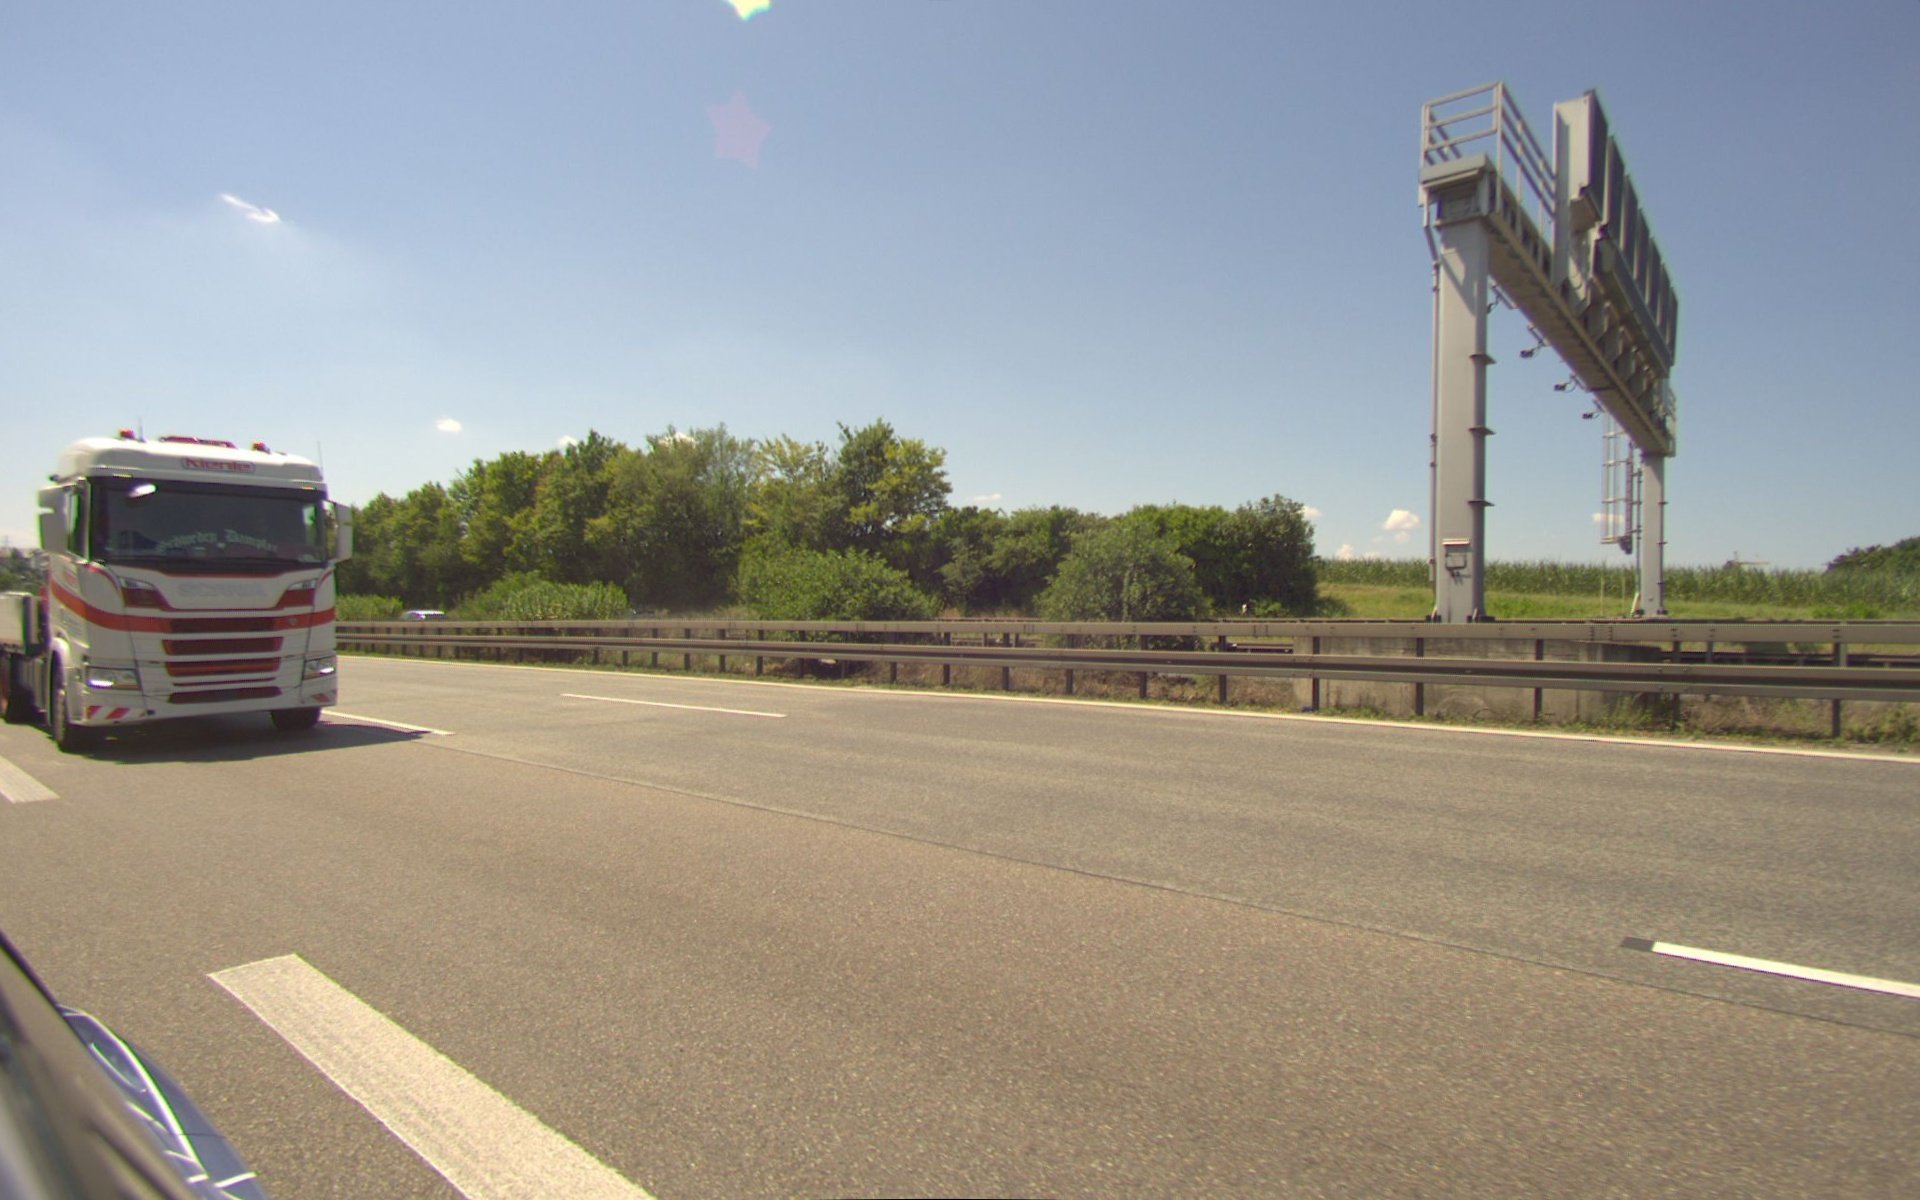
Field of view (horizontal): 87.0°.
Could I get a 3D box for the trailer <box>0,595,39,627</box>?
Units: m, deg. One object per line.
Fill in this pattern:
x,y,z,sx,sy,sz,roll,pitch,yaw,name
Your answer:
-120.981,1.427,129.921,9.723,3.918,2.664,-1,-1,39,trailer

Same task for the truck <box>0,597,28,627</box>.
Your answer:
-125.100,1.565,133.231,5.738,3.918,2.669,-1,-1,39,truck

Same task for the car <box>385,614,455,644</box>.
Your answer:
-28.551,1.533,53.460,4.252,1.499,1.803,-1,-1,41,car

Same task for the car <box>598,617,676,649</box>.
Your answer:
-15.985,1.613,50.004,4.047,1.499,1.803,-1,-1,41,car

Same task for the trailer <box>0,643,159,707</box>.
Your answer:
-18.863,1.436,20.561,7.755,0.941,2.686,-1,-1,41,trailer

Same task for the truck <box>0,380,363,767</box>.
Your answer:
-12.004,-0.178,14.537,10.666,3.831,2.686,-1,-1,41,truck
